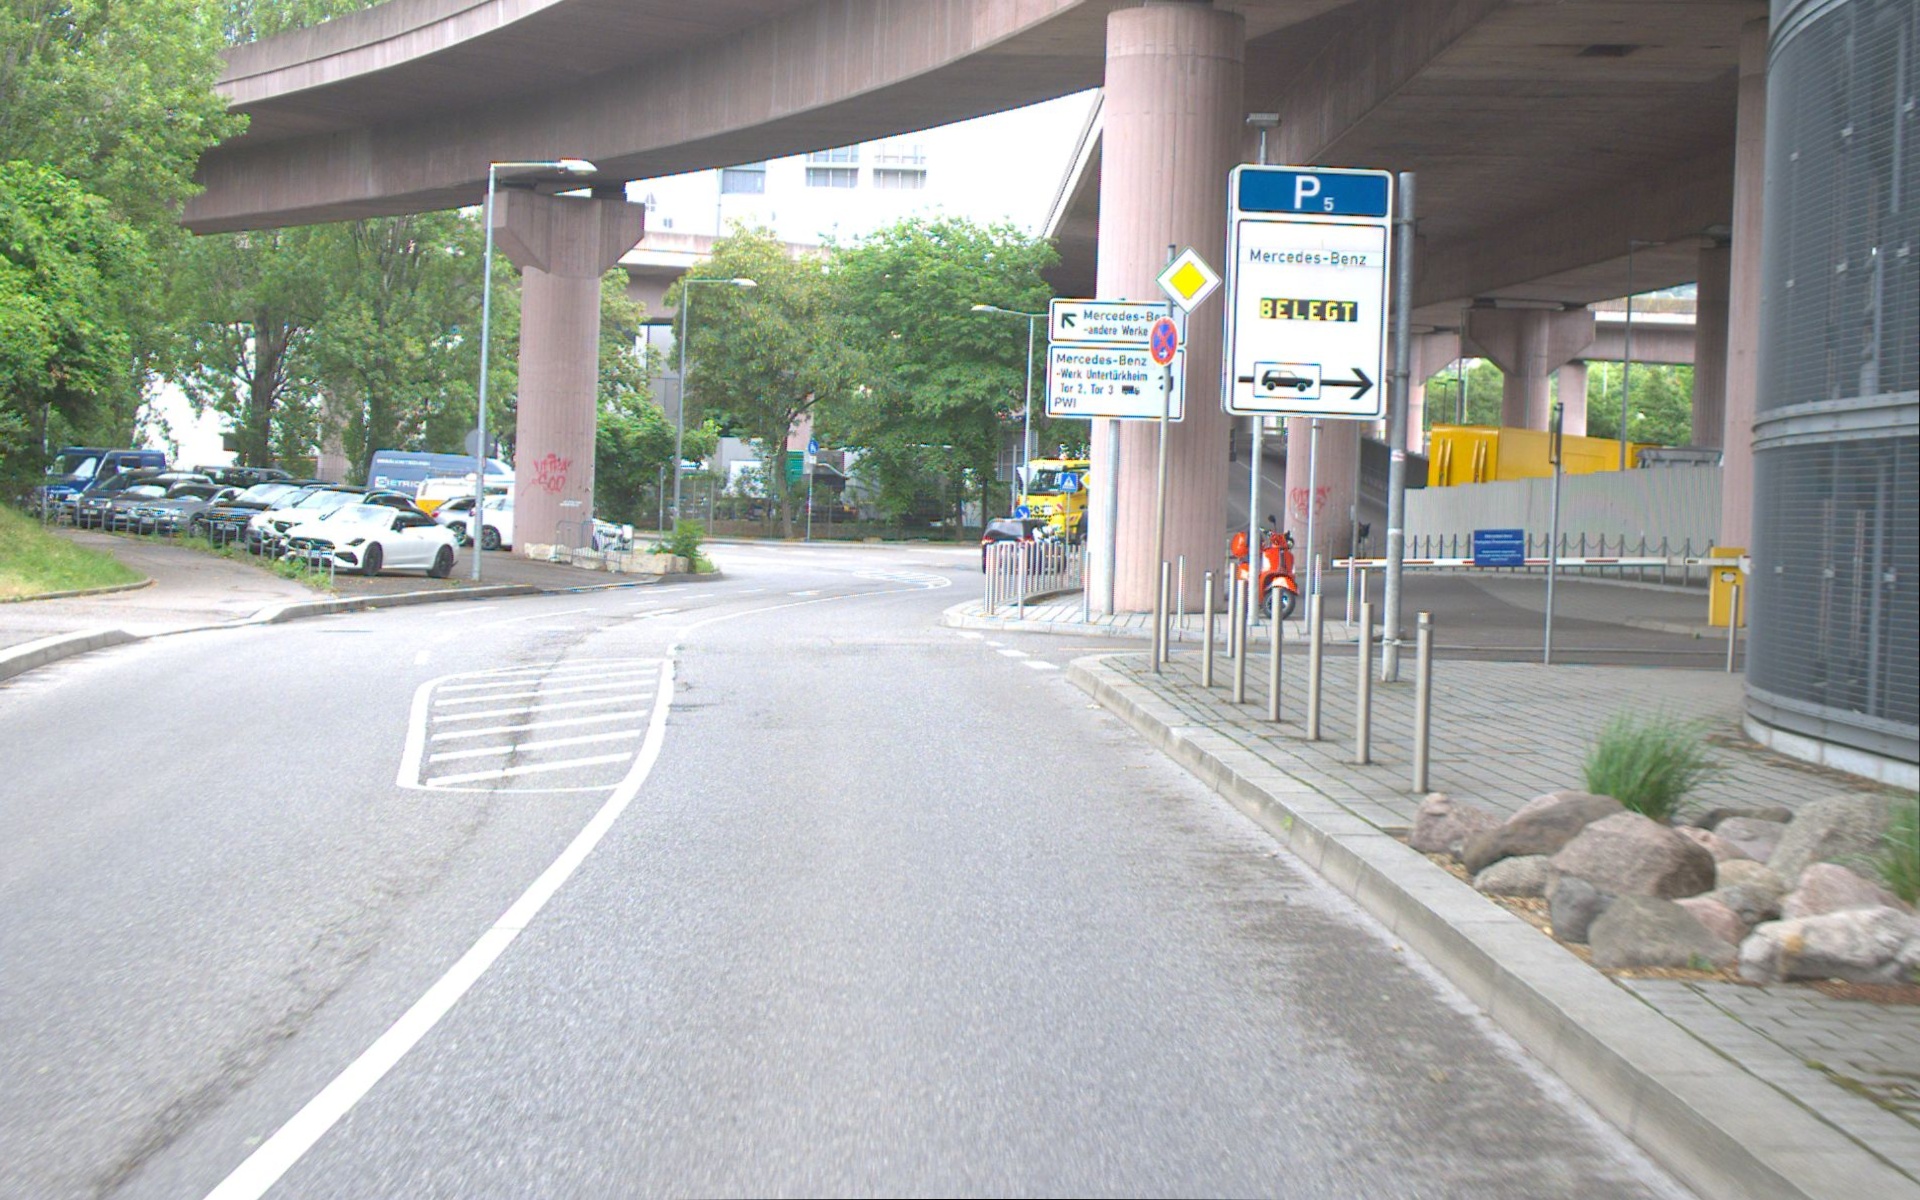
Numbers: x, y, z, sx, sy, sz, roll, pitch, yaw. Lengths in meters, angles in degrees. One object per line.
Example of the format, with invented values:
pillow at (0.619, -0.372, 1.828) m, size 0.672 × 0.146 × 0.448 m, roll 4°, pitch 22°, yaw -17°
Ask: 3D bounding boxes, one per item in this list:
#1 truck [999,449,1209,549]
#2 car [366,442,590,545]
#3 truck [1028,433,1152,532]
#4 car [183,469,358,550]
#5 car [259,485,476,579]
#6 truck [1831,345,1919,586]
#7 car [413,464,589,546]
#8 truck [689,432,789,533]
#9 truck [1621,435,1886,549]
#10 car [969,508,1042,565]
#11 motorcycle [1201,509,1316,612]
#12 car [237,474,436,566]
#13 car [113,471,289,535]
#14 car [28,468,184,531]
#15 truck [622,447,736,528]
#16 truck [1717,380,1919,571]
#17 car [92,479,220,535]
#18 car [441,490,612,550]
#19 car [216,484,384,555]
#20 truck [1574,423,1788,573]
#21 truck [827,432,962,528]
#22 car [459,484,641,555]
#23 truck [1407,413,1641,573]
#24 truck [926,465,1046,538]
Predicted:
truck at (5.516, -3.885, 130.194) m, size 8.223 × 3.468 × 2.935 m, roll -3°, pitch 7°, yaw -44°
car at (-14.155, -3.143, 101.269) m, size 6.175 × 2.715 × 2.368 m, roll 3°, pitch 2°, yaw -1°
truck at (5.872, -5.418, 157.112) m, size 3.064 × 4.284 × 8.052 m, roll 0°, pitch 3°, yaw -17°
car at (-15.733, -2.055, 78.653) m, size 1.859 × 1.685 × 4.159 m, roll 3°, pitch 1°, yaw 23°
car at (-11.684, -1.323, 68.111) m, size 1.996 × 1.474 × 4.823 m, roll 6°, pitch 1°, yaw 20°
truck at (22.471, -2.817, 74.120) m, size 3.145 × 4.907 × 9.703 m, roll 2°, pitch 2°, yaw 40°
car at (-13.113, -2.716, 98.314) m, size 4.557 × 2.104 × 1.850 m, roll 3°, pitch 2°, yaw 8°
truck at (-11.053, -5.900, 171.343) m, size 3.202 × 4.763 × 8.052 m, roll 0°, pitch 3°, yaw -17°
truck at (21.988, -3.011, 94.951) m, size 3.145 × 2.933 × 8.696 m, roll -1°, pitch 1°, yaw 43°
car at (1.382, -1.975, 105.984) m, size 1.993 × 1.673 × 4.561 m, roll 2°, pitch 1°, yaw -2°
motorcycle at (4.103, -0.559, 47.452) m, size 0.795 × 1.362 × 2.130 m, roll 0°, pitch 2°, yaw -18°
car at (-13.003, -1.659, 71.980) m, size 1.996 × 1.577 × 4.395 m, roll 7°, pitch 1°, yaw 20°
car at (-19.461, -2.471, 88.410) m, size 1.859 × 1.482 × 4.883 m, roll 5°, pitch 3°, yaw 23°
car at (-23.170, -2.716, 93.398) m, size 1.898 × 1.670 × 4.149 m, roll 1°, pitch 2°, yaw 25°
truck at (-13.745, -5.516, 167.628) m, size 3.054 × 3.606 × 7.918 m, roll 0°, pitch 4°, yaw -23°
truck at (22.420, -3.000, 84.716) m, size 3.145 × 4.428 × 9.703 m, roll 1°, pitch 2°, yaw 40°
car at (-21.285, -2.472, 91.111) m, size 1.645 × 1.436 × 3.732 m, roll 1°, pitch 2°, yaw 17°
car at (-12.048, -2.239, 95.712) m, size 4.246 × 1.366 × 1.999 m, roll 4°, pitch 2°, yaw 10°
car at (-14.443, -1.742, 75.396) m, size 1.789 × 1.449 × 3.742 m, roll 3°, pitch 1°, yaw 23°
truck at (24.949, -3.476, 118.613) m, size 3.145 × 4.886 × 8.696 m, roll 3°, pitch 2°, yaw 42°
truck at (-2.869, -5.176, 147.152) m, size 3.065 × 3.854 × 8.051 m, roll 0°, pitch 4°, yaw -22°
car at (-11.032, -2.174, 92.666) m, size 4.383 × 1.600 × 1.953 m, roll 4°, pitch 2°, yaw 12°
truck at (18.325, -3.420, 111.220) m, size 3.145 × 4.900 × 8.696 m, roll 3°, pitch 2°, yaw 42°
truck at (1.076, -4.282, 148.306) m, size 2.914 × 2.888 × 6.561 m, roll 0°, pitch 4°, yaw -22°
